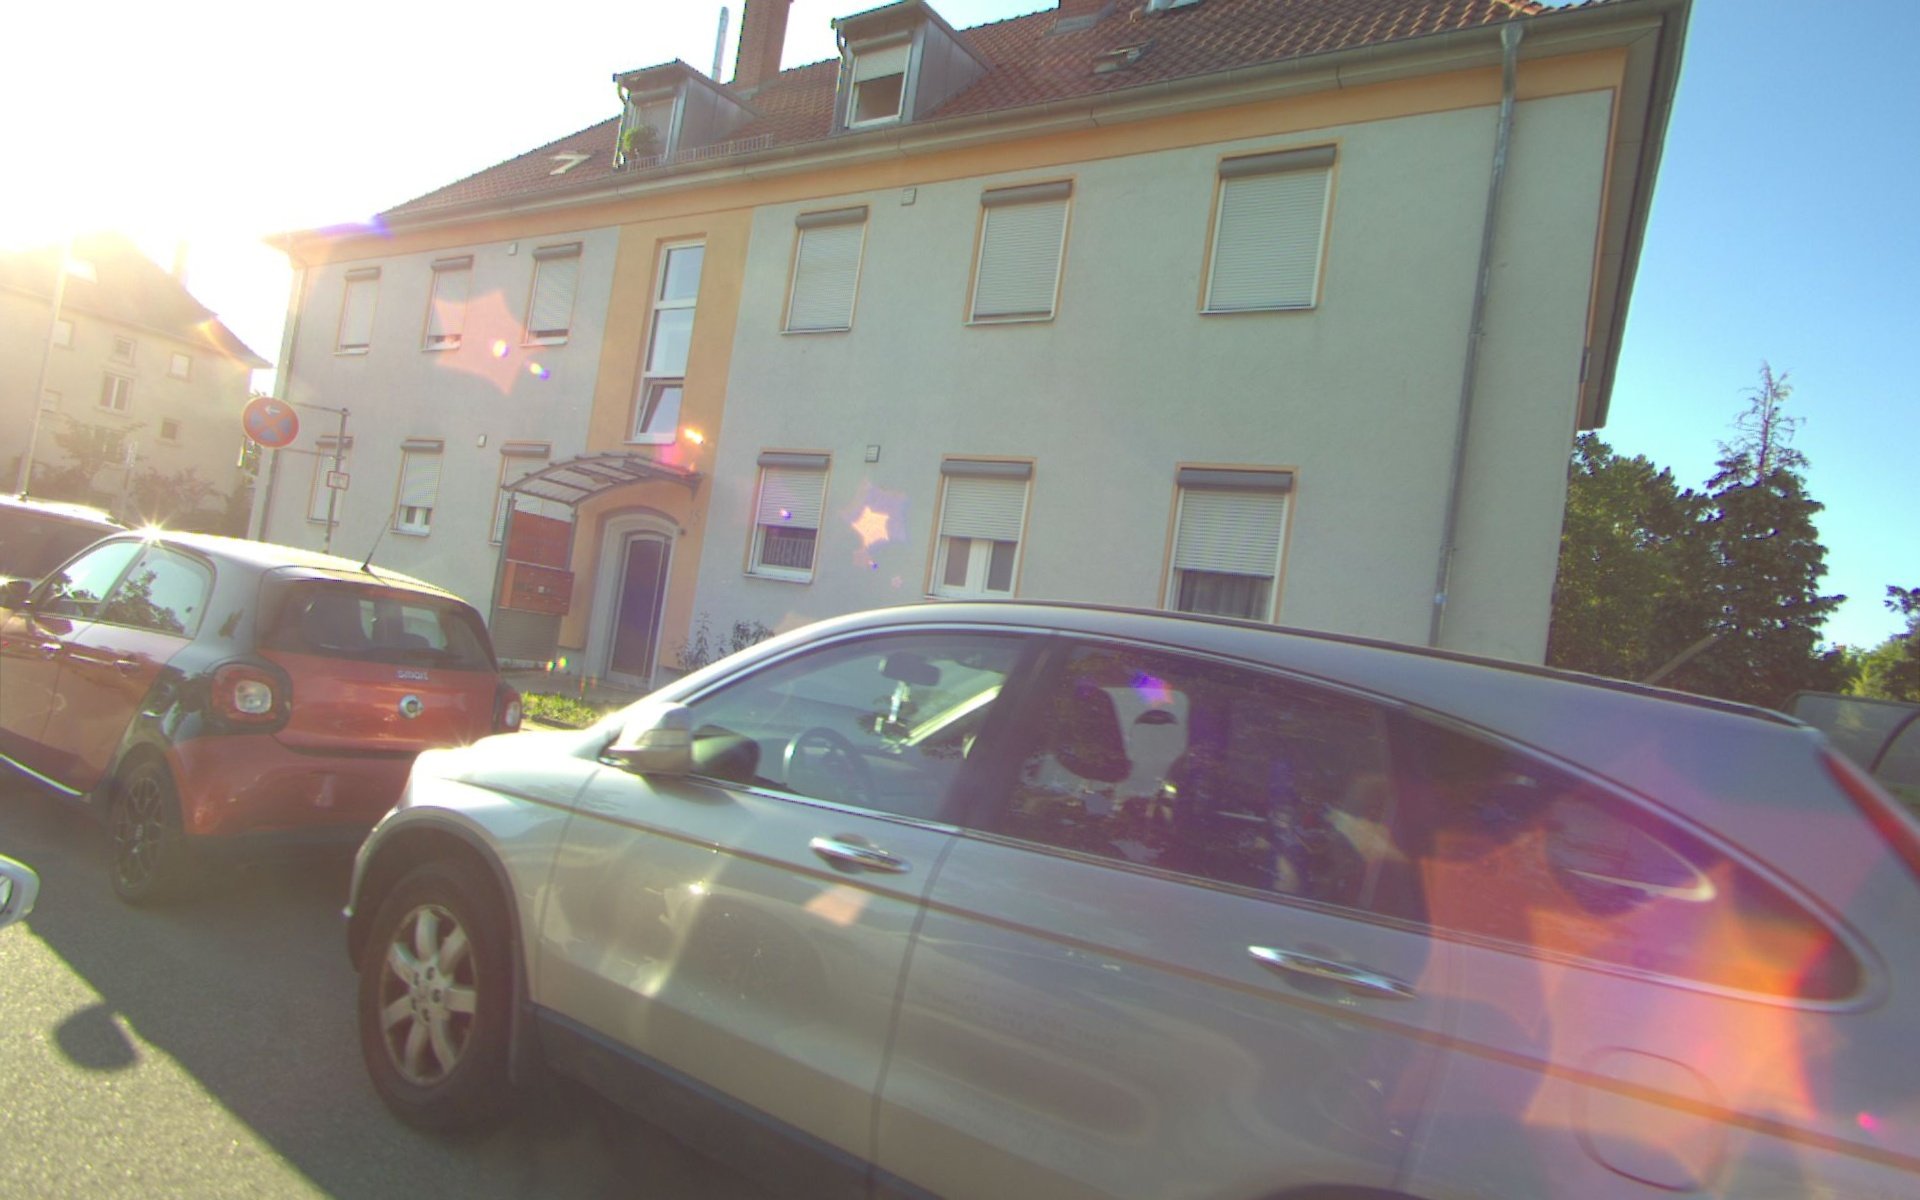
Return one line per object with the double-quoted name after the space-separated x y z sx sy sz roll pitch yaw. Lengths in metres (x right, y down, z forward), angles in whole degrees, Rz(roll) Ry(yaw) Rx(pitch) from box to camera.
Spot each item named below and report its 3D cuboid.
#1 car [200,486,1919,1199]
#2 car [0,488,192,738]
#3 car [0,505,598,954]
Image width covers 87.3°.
0.094 0.778 2.815 4.677 1.661 1.782 6 -3 31 "car"
-8.418 -0.136 8.032 4.485 1.655 1.724 7 -5 28 "car"
-3.981 0.444 5.444 3.672 1.544 1.733 7 -1 31 "car"
